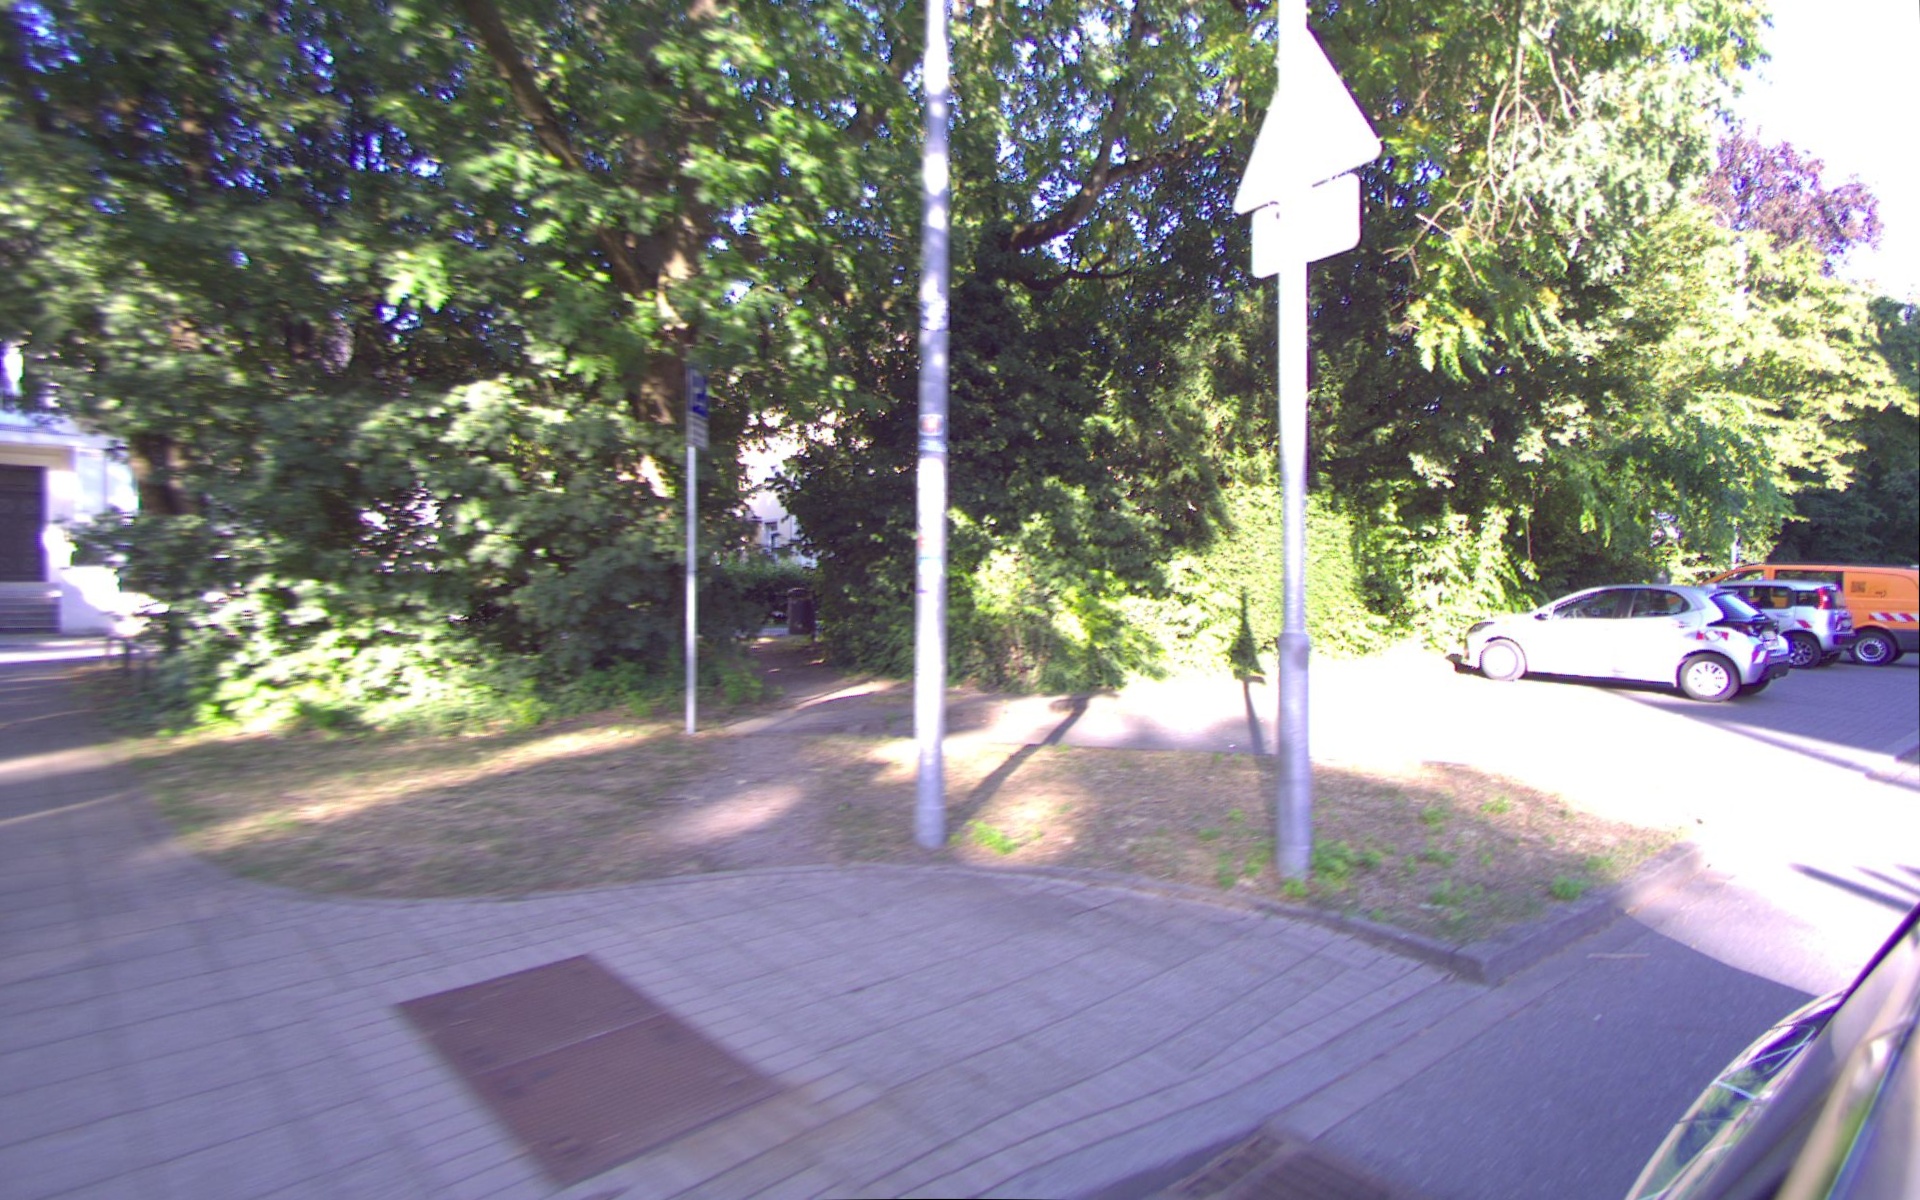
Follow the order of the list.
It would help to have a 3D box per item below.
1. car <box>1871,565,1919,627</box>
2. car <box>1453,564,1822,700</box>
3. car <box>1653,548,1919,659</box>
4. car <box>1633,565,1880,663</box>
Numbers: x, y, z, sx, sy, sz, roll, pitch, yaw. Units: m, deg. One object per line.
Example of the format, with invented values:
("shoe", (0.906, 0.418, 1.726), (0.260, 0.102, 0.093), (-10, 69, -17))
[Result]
("car", (30.751, -0.093, 30.884), (1.882, 1.886, 3.989), (0, 3, -31))
("car", (9.444, 0.330, 14.405), (1.703, 1.565, 4.000), (0, 3, -37))
("car", (17.580, -0.005, 21.034), (2.044, 2.022, 4.807), (0, 3, -40))
("car", (15.306, 0.192, 19.592), (1.648, 1.651, 3.408), (0, 3, -36))
